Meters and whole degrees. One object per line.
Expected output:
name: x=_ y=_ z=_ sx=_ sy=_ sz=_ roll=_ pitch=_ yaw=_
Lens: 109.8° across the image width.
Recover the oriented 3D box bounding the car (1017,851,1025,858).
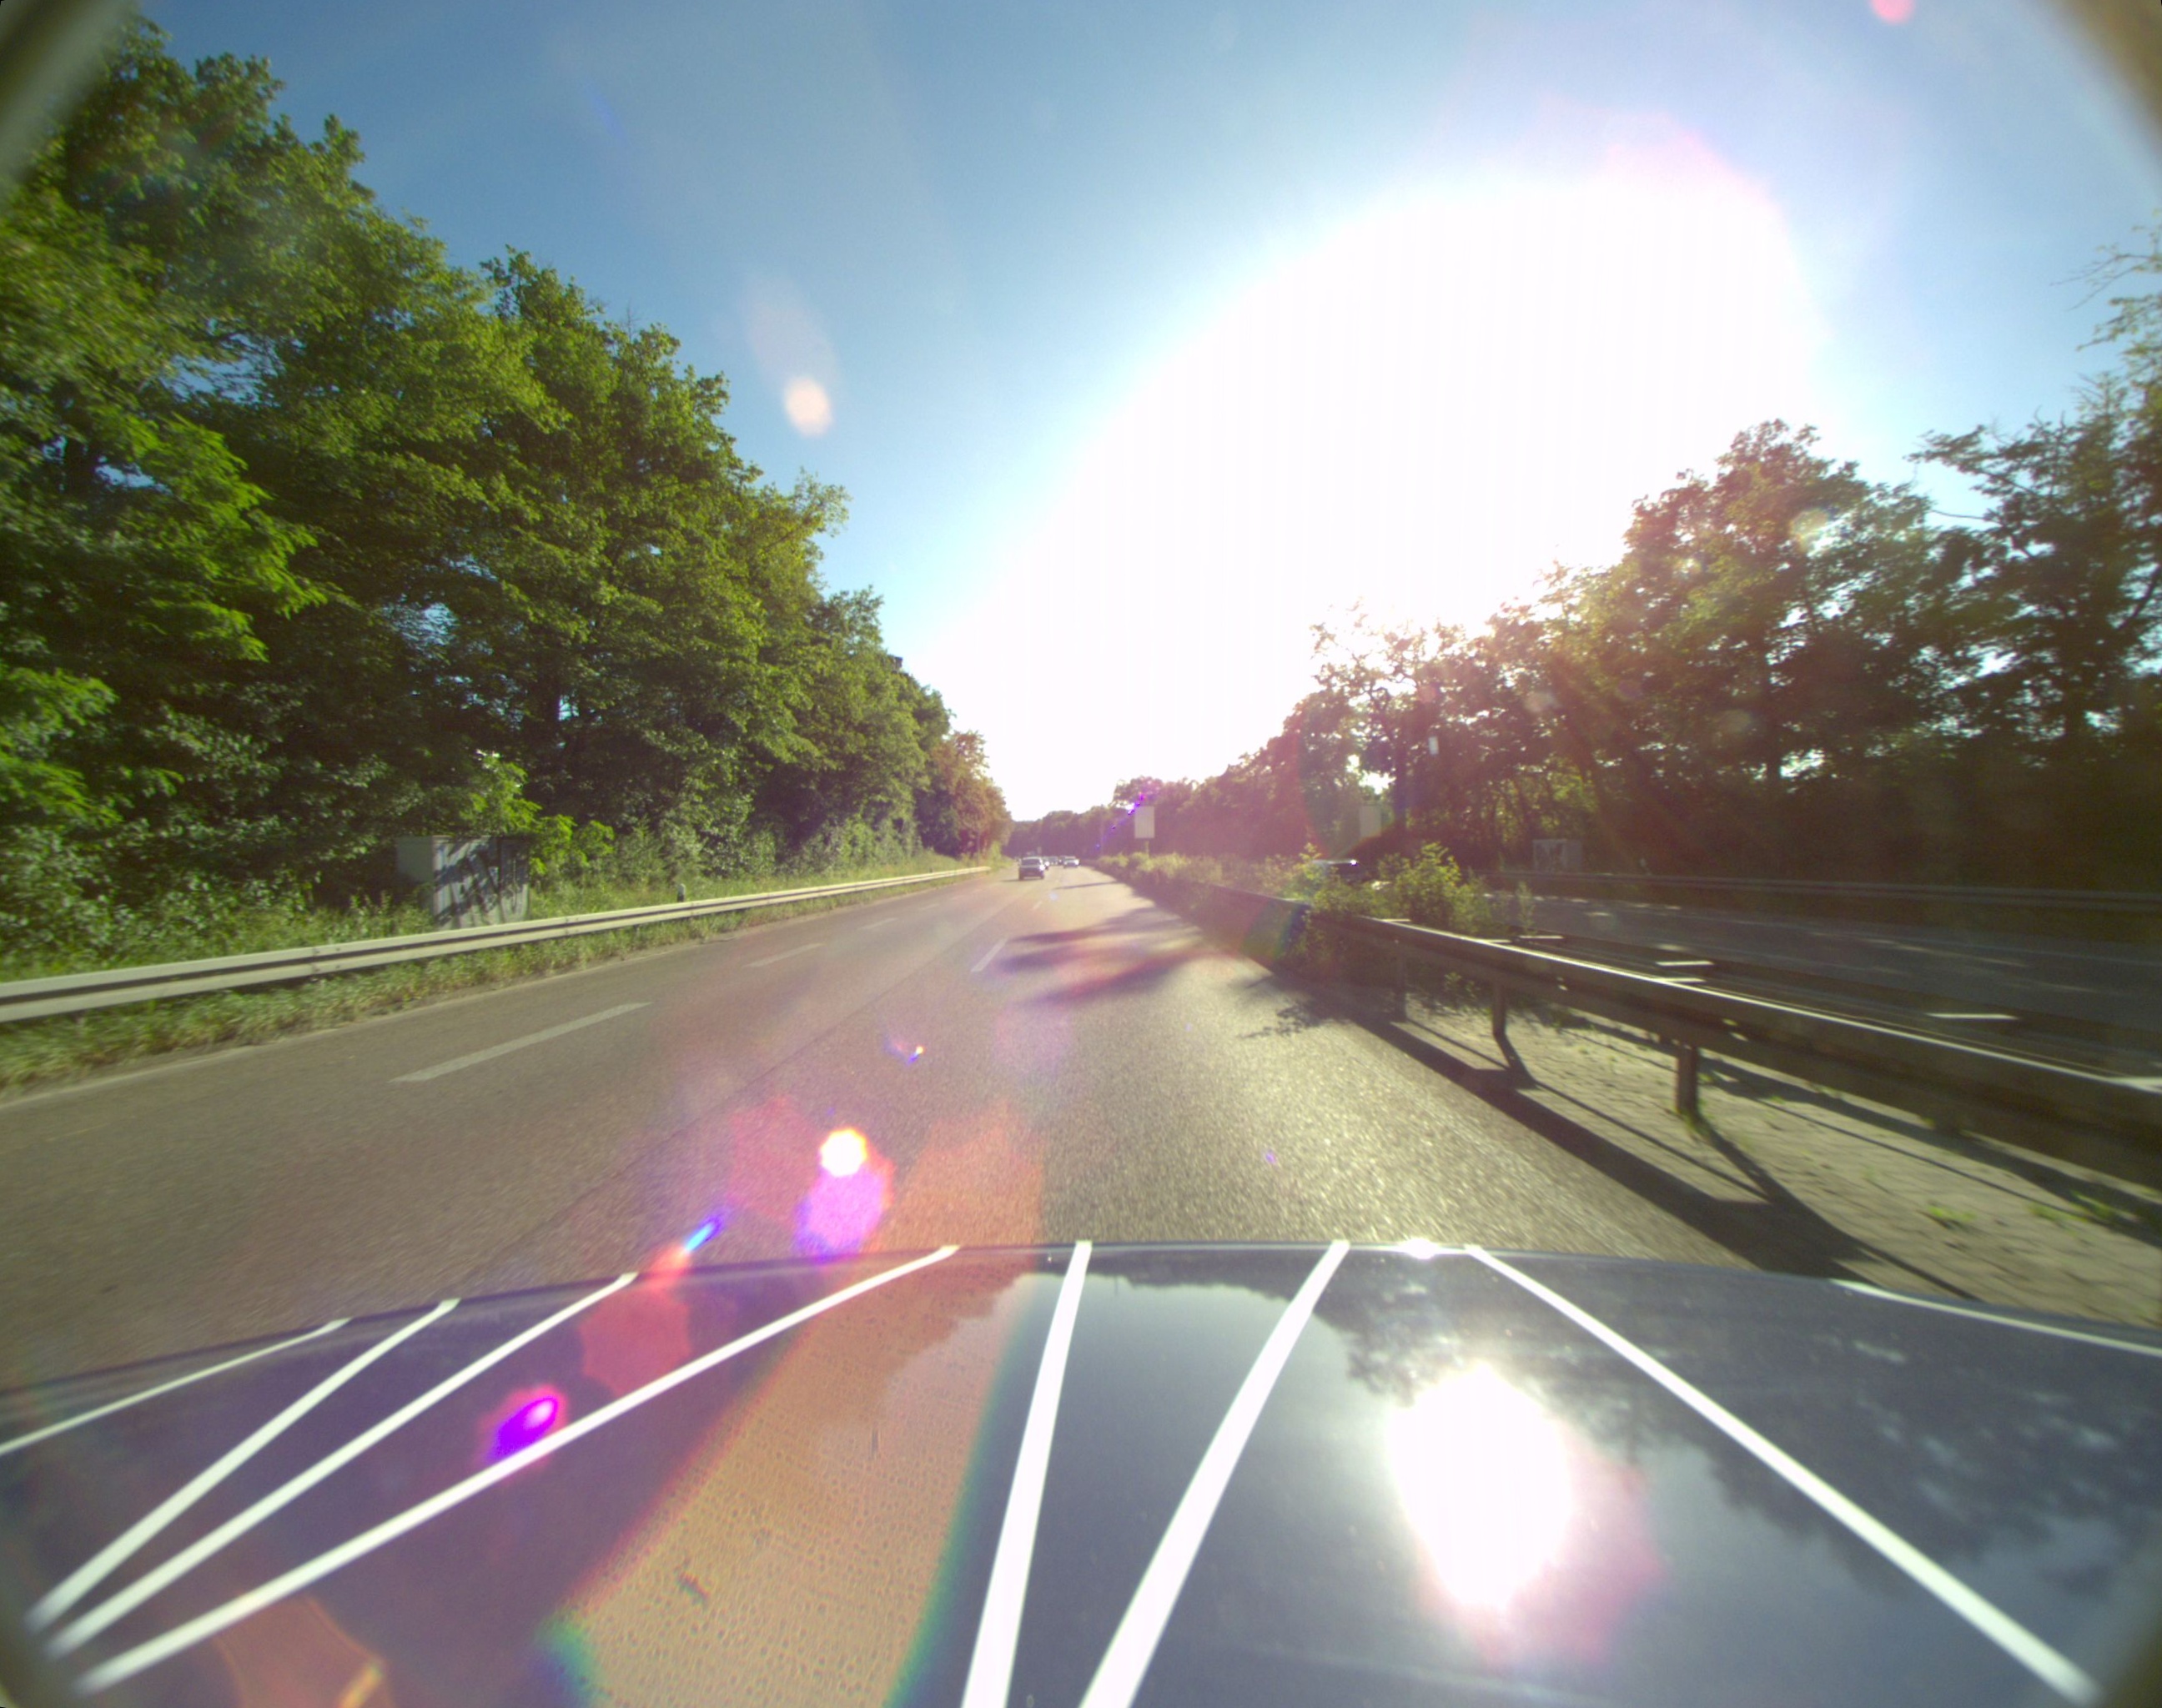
car: x=-18.451 y=0.075 z=234.293 sx=2.000 sy=2.002 sz=3.996 roll=-1 pitch=0 yaw=-12

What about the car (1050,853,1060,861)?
car: x=-4.962 y=0.633 z=145.432 sx=1.801 sy=1.453 sz=4.400 roll=-1 pitch=0 yaw=-4

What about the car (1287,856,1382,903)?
car: x=9.014 y=0.863 z=27.436 sx=1.856 sy=1.480 sz=4.784 roll=-1 pitch=0 yaw=0

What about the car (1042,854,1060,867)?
car: x=-3.576 y=0.769 z=90.010 sx=1.802 sy=1.453 sz=4.353 roll=-1 pitch=0 yaw=-6

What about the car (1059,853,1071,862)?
car: x=-2.718 y=0.639 z=129.592 sx=1.801 sy=1.453 sz=4.354 roll=-1 pitch=0 yaw=-4

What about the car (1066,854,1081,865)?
car: x=-1.022 y=0.709 z=99.937 sx=1.904 sy=1.453 sz=4.355 roll=-1 pitch=0 yaw=-2

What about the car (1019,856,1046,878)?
car: x=-3.513 y=0.929 z=54.668 sx=1.802 sy=1.453 sz=4.353 roll=-1 pitch=0 yaw=-5
